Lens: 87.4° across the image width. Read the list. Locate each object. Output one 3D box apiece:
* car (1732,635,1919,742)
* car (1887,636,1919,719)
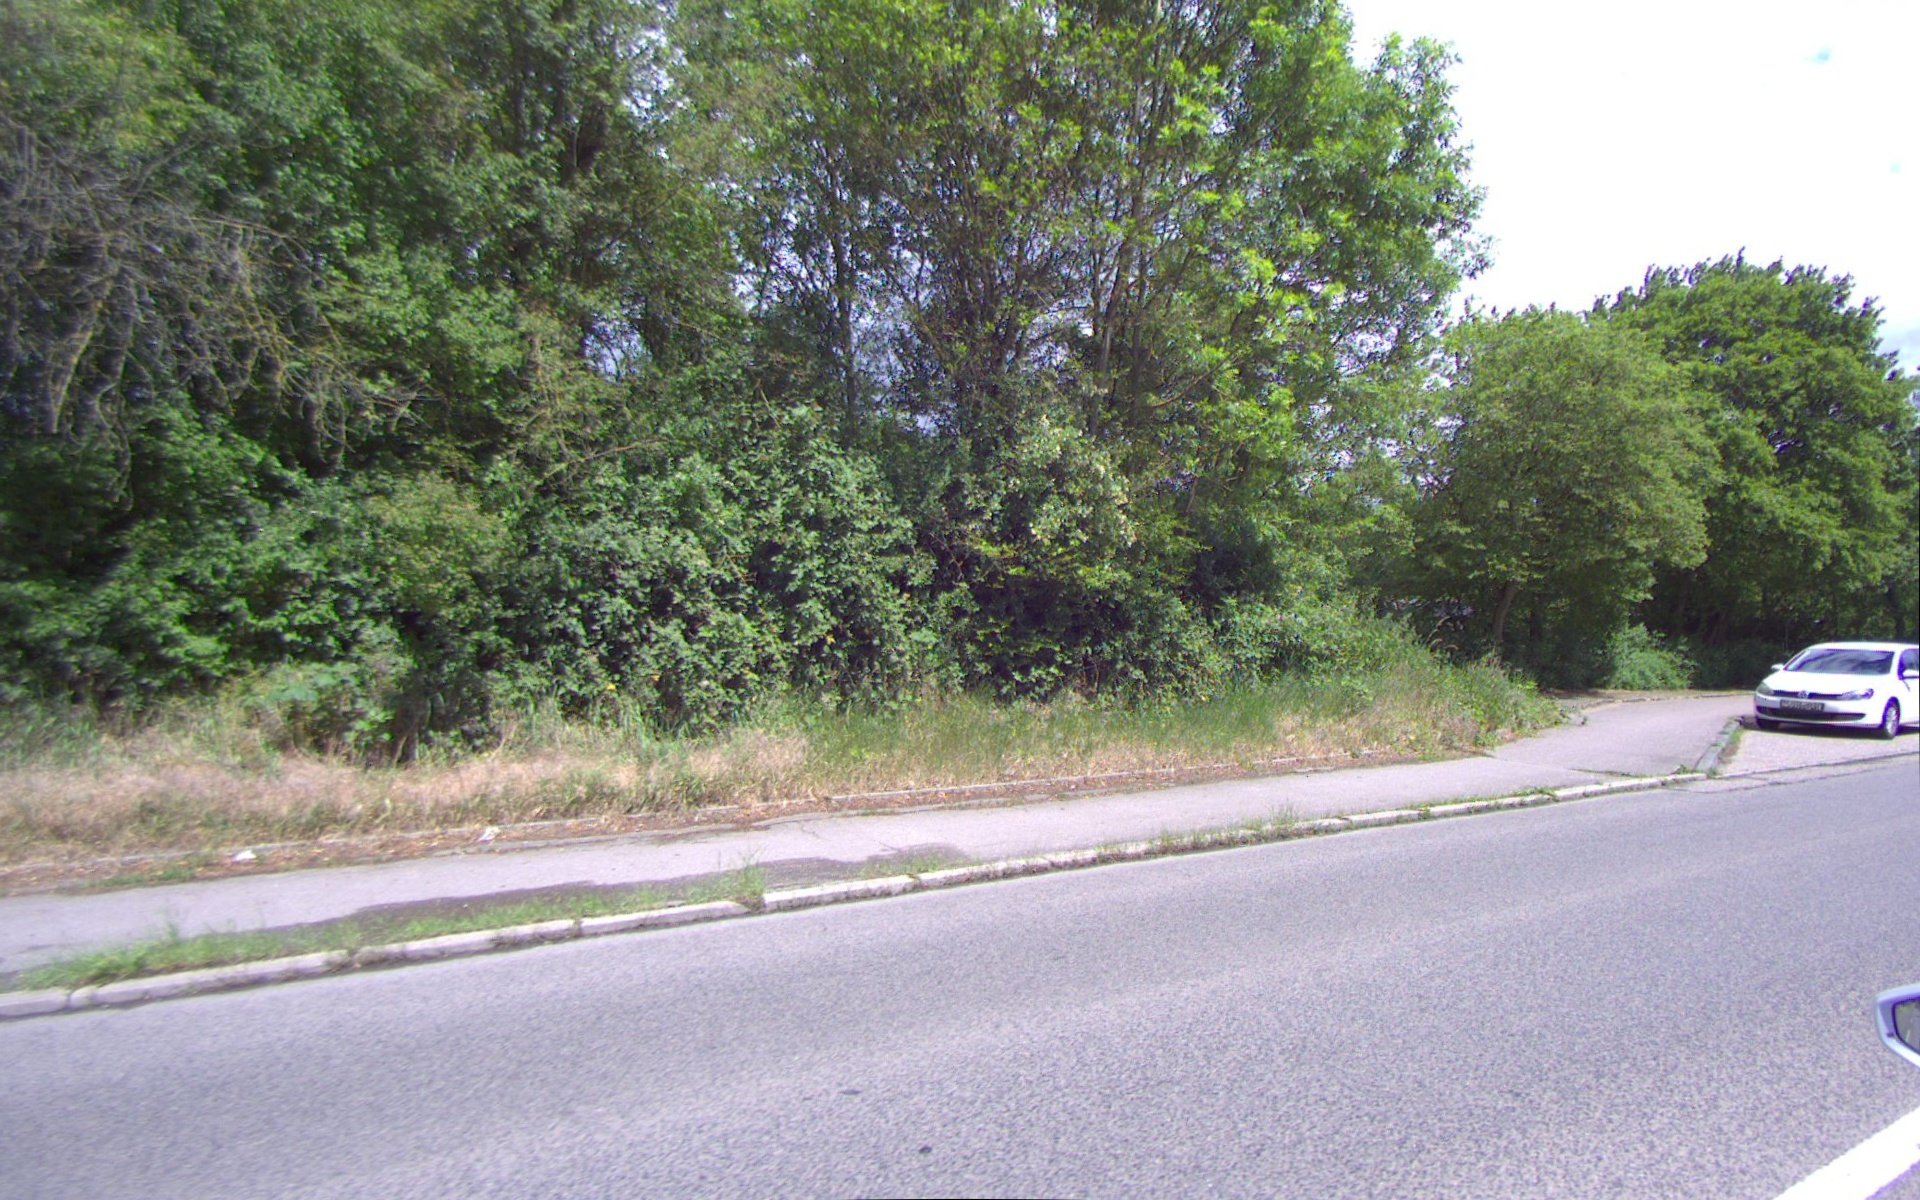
[{"bbox_3d":[15.142,1.410,17.133,3.908,1.564,1.789,1,0,-30],"label":"car"},{"bbox_3d":[21.251,1.590,20.880,3.907,1.646,1.790,1,-1,-29],"label":"car"}]
